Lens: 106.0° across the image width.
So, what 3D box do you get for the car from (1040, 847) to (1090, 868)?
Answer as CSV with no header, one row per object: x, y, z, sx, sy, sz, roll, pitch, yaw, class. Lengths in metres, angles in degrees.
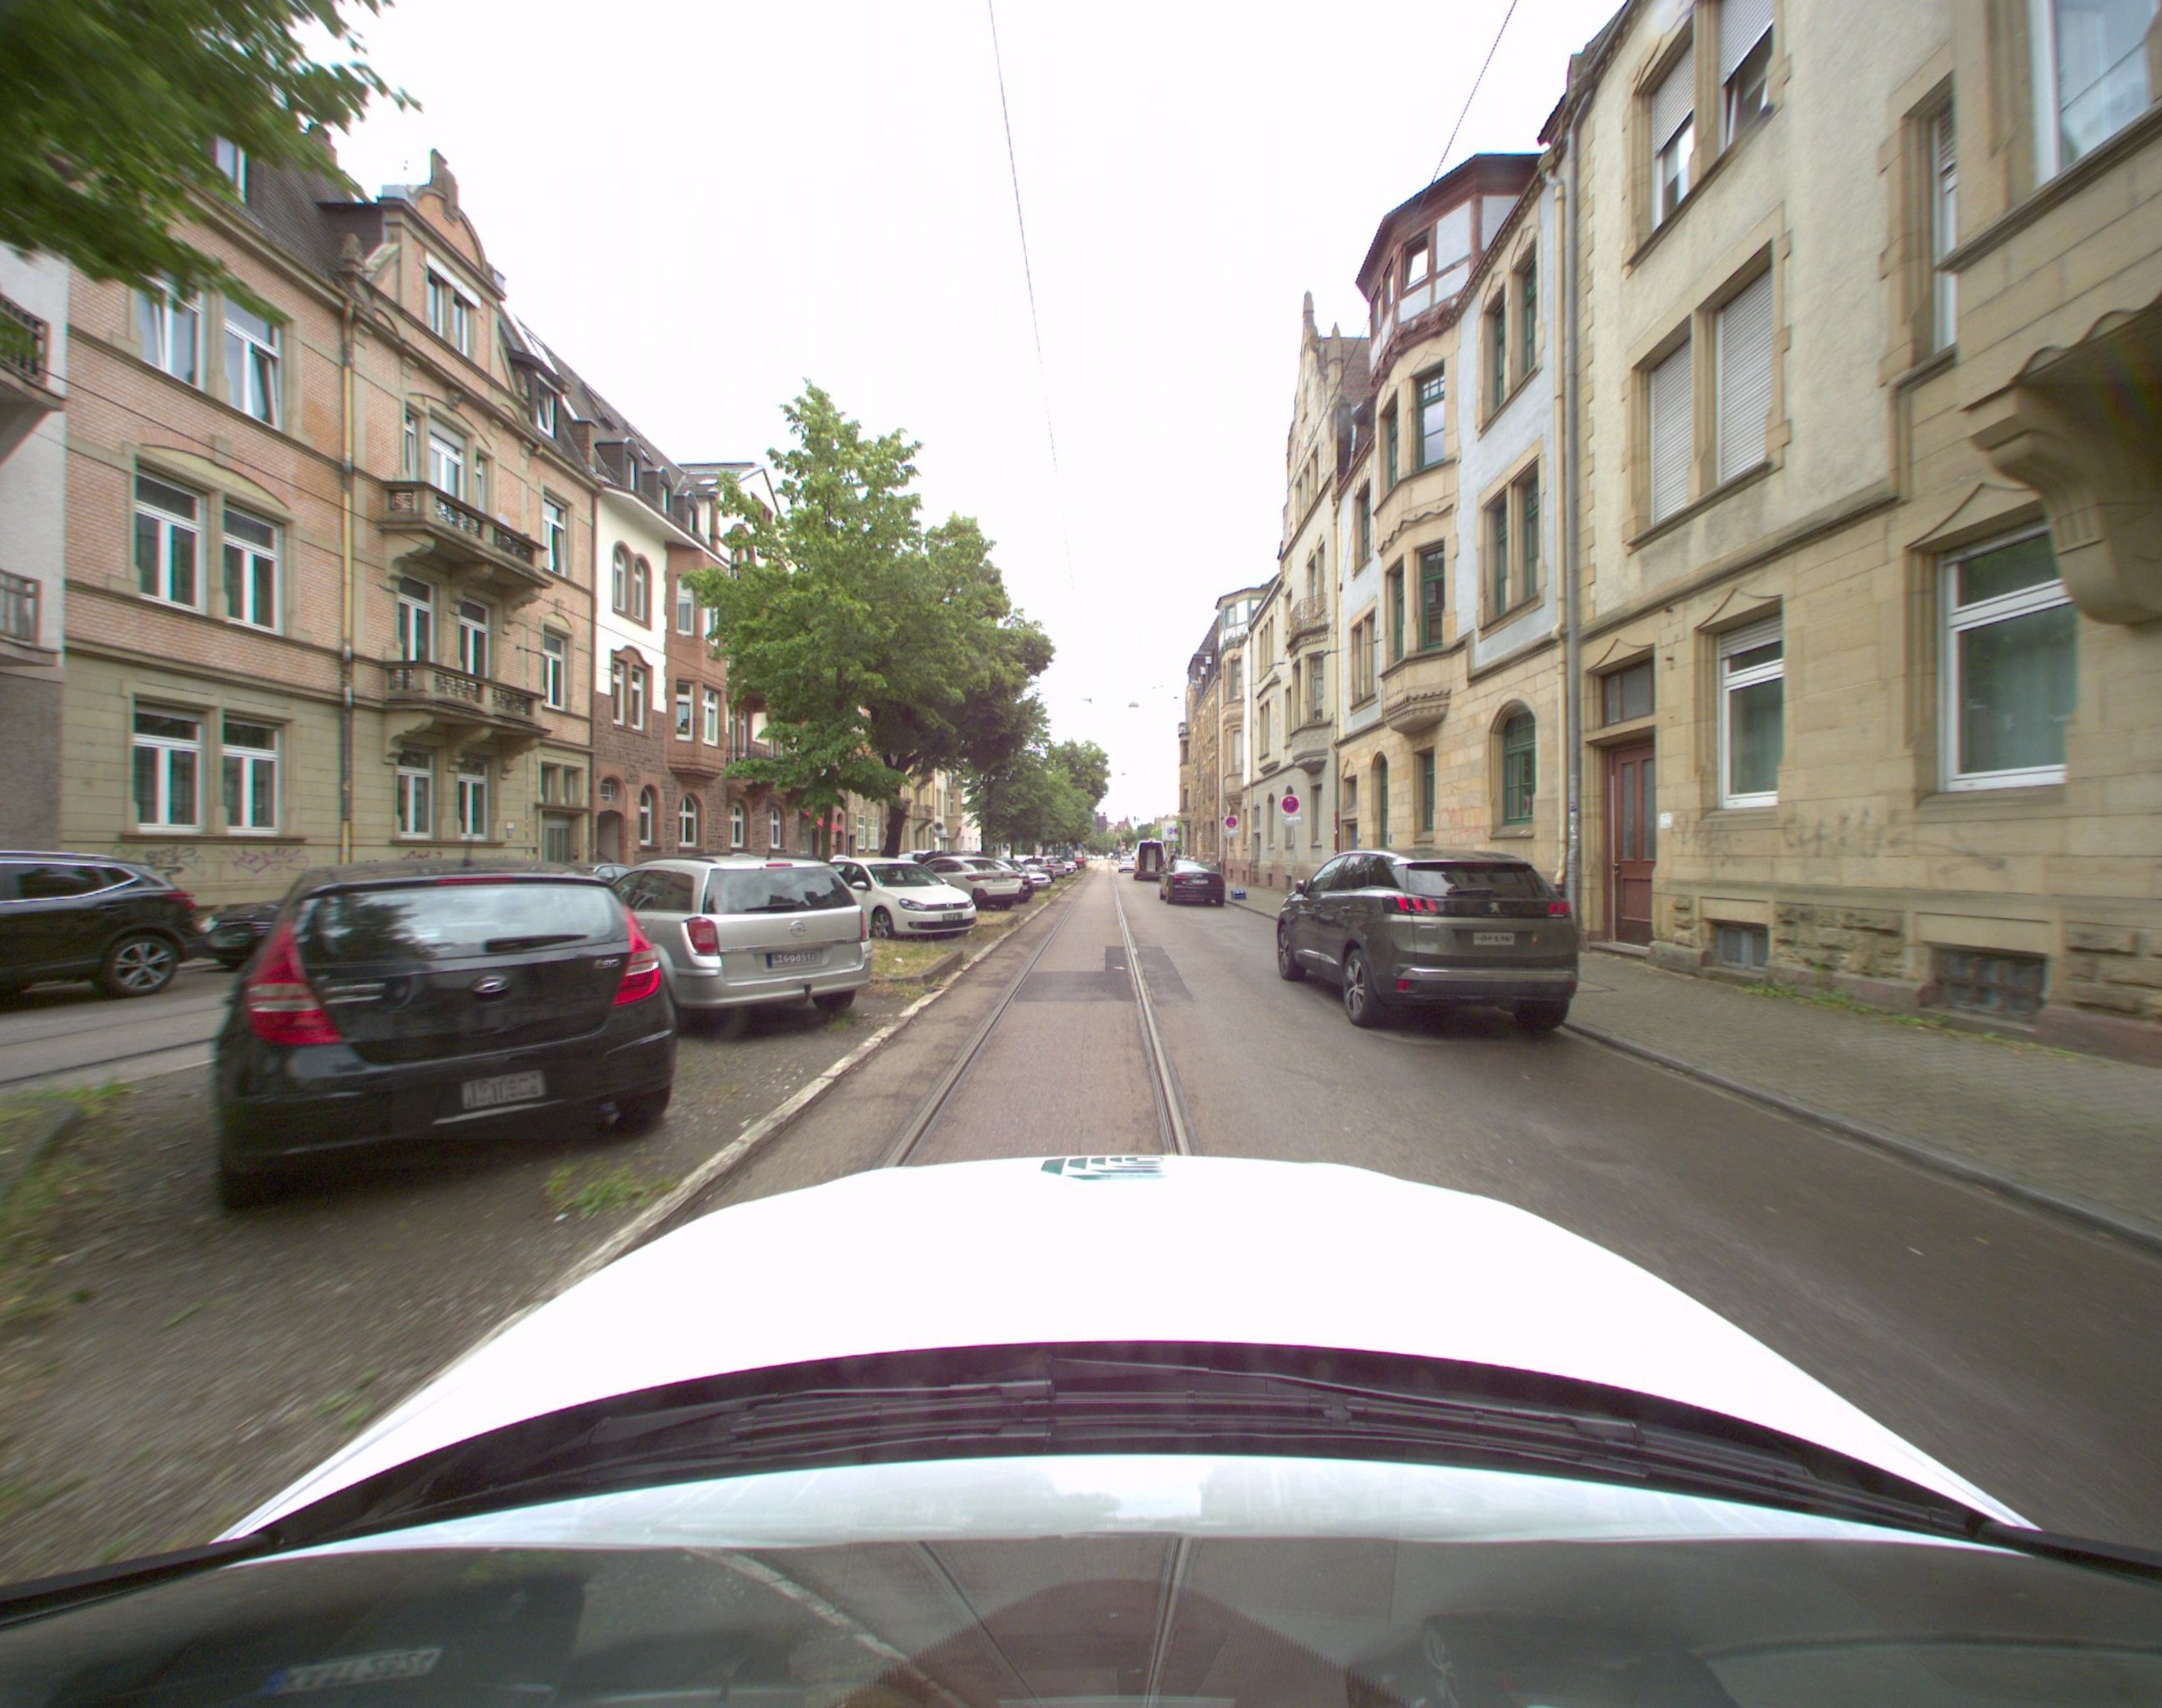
-1.589,0.359,79.162,4.707,1.974,1.972,0,0,40,car

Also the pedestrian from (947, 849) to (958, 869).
-11.412,0.461,72.123,0.795,1.766,0.900,0,0,1,pedestrian

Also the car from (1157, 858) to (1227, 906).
3.681,0.869,27.871,1.794,1.438,5.197,0,0,1,car

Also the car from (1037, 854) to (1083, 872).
-1.800,0.733,68.408,3.815,1.463,1.700,0,0,44,car

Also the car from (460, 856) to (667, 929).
-11.220,0.769,18.086,1.798,1.438,4.231,0,-1,1,car

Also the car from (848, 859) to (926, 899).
-7.379,0.919,31.492,1.798,1.453,4.653,0,-1,1,car

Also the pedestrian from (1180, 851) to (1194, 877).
6.916,0.661,53.105,0.706,1.700,0.489,-2,0,-26,pedestrian

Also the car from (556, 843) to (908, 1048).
-3.754,0.677,8.245,1.874,1.493,4.510,1,-1,-43,car

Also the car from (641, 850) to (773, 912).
-10.752,0.731,23.783,1.762,1.628,4.321,0,-1,1,car

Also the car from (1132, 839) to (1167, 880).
4.563,0.339,55.088,2.005,2.549,7.021,2,0,3,car

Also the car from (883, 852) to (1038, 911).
-3.452,0.714,22.815,2.047,1.490,4.486,1,-1,-44,car

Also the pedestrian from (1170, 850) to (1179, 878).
6.163,0.655,53.865,0.497,1.815,0.803,-2,0,3,pedestrian

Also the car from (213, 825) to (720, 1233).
-3.862,0.632,5.022,1.786,1.485,3.951,0,0,-43,car

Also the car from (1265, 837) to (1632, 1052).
3.314,0.679,8.516,1.753,1.622,4.694,0,0,0,car

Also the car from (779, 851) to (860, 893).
-10.613,0.711,33.390,1.734,1.626,4.555,0,-1,1,car

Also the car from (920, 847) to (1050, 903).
-3.141,0.630,25.971,1.775,1.633,4.477,1,-1,-44,car

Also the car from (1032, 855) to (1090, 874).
-1.549,0.779,62.187,4.286,1.435,1.910,0,0,44,car

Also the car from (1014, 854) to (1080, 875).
-2.447,0.757,58.100,4.629,1.435,1.910,0,0,41,car

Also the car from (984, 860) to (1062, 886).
-2.894,0.891,40.072,1.678,1.202,3.914,0,0,-45,car

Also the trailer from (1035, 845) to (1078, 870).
-2.291,0.327,76.273,3.624,2.344,1.943,0,0,34,trailer

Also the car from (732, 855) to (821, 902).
-10.636,0.828,28.741,1.656,1.560,3.723,0,-1,1,car

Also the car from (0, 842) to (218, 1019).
-11.190,0.724,7.520,1.798,1.680,4.274,0,-1,1,car

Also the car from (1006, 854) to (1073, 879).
-2.570,0.735,50.432,4.066,1.484,1.808,0,0,42,car

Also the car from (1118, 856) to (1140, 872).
4.463,0.916,74.956,1.773,1.472,4.018,0,0,7,car

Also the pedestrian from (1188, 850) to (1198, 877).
7.419,0.617,53.935,0.507,1.717,0.579,-2,0,-8,pedestrian

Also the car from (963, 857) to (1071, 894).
-2.669,0.831,32.940,4.610,1.368,1.768,0,0,44,car

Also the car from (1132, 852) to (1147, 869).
6.919,0.722,97.057,1.775,1.962,4.386,0,0,3,car

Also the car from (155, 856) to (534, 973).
-10.925,0.793,12.645,1.798,1.490,4.388,0,-1,1,car

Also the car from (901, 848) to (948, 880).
-9.875,0.617,51.795,1.874,1.952,5.095,0,-1,1,car

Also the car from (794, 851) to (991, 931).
-3.732,0.626,15.708,1.874,1.312,4.079,1,0,-44,car
